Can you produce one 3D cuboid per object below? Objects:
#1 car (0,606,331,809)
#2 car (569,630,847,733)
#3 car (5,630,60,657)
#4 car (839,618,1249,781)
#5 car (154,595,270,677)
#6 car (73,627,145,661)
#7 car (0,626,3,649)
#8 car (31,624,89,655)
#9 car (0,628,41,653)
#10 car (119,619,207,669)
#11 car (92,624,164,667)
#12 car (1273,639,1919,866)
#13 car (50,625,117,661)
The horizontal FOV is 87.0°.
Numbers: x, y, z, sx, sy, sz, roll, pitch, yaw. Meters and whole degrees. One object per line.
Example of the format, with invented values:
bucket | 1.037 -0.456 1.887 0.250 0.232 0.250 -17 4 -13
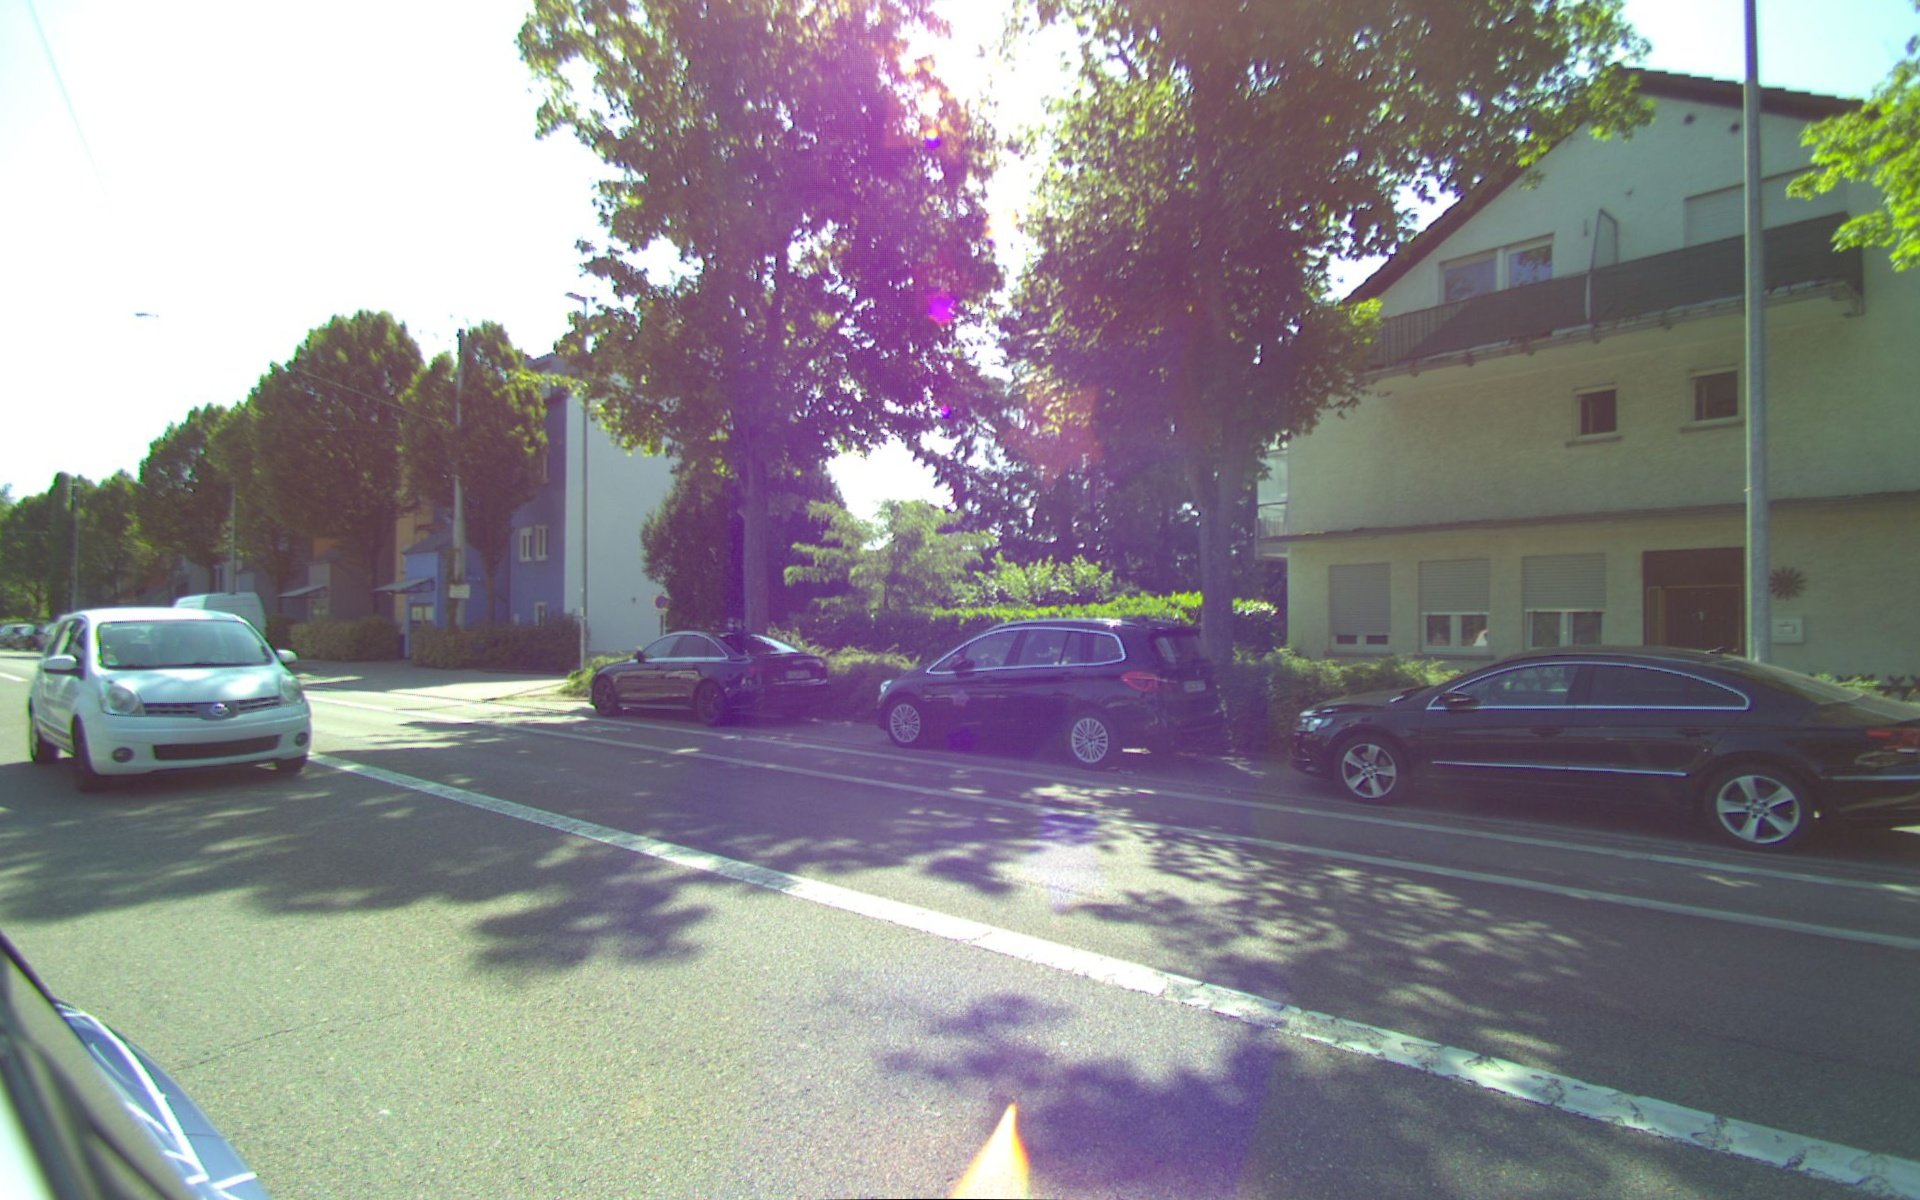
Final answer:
car | -7.953 0.877 9.954 4.391 1.559 1.762 -1 -1 40
car | -4.269 1.235 16.731 4.903 1.477 1.822 -1 -2 38
car | -54.890 2.523 59.874 4.206 1.481 1.662 -1 -1 37
car | 0.823 1.044 12.296 4.891 1.618 1.743 -1 -2 41
car | -27.667 1.279 37.311 7.084 2.697 1.973 -2 1 42
car | -41.778 2.123 49.663 4.069 1.466 1.849 -1 1 37
car | -69.132 2.663 71.028 4.920 1.588 1.889 -1 -1 35
car | -49.885 2.141 56.071 4.159 1.619 1.661 -1 -1 37
car | -60.065 2.529 64.169 4.826 1.457 1.663 -1 -1 35
car | -33.716 1.817 42.755 4.964 1.879 1.973 -1 2 41
car | -37.968 2.031 46.135 4.539 1.715 1.829 -1 2 42
car | 5.216 1.047 8.342 4.779 1.390 1.673 -2 -2 41
car | -45.884 2.217 52.973 4.343 1.741 1.812 -1 0 38
